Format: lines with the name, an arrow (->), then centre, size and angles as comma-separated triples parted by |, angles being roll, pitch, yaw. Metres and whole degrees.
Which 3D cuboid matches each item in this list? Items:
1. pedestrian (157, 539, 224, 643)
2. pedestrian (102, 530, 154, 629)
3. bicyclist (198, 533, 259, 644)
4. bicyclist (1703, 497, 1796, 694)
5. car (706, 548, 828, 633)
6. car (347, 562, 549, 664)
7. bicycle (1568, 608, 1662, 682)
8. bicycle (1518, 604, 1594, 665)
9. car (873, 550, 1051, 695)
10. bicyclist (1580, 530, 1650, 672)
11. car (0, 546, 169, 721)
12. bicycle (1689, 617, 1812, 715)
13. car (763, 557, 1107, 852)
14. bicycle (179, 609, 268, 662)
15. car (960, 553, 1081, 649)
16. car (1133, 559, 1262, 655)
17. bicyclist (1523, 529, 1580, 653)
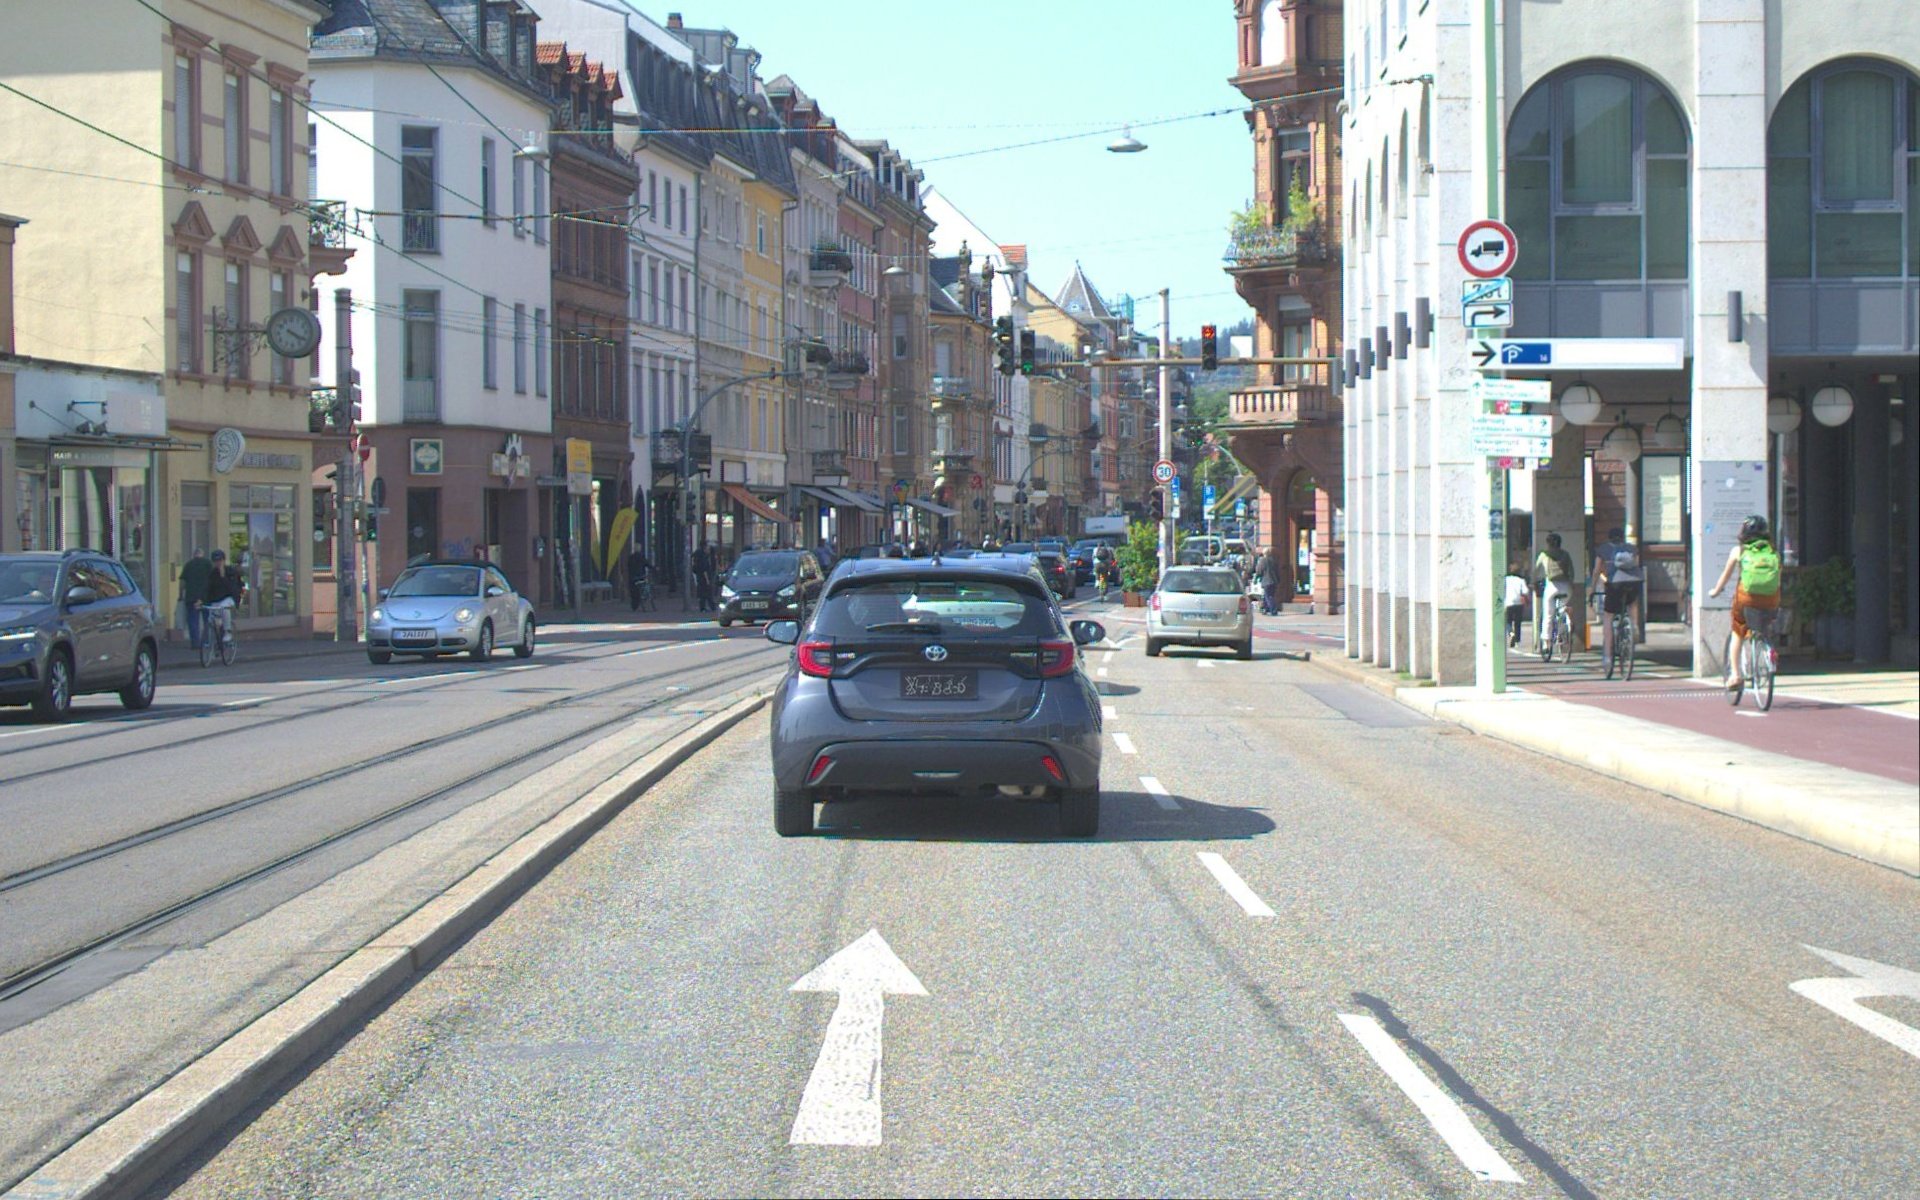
pedestrian -> -12.636, -0.142, 56.469 | 0.762, 1.648, 0.711 | 4, 0, 6
pedestrian -> -14.077, -0.352, 58.202 | 0.649, 1.596, 0.566 | 4, 3, 0
bicyclist -> -11.109, -0.180, 52.201 | 0.705, 1.644, 0.621 | 2, 1, 9
bicyclist -> 6.720, -0.044, 29.284 | 0.605, 1.645, 0.702 | -1, 0, 0
car -> -4.147, -0.214, 74.606 | 1.994, 1.766, 3.999 | 0, 0, 6
car -> -7.549, 0.173, 51.102 | 1.994, 1.427, 3.999 | 1, 0, 6
bicycle -> 7.250, 0.489, 38.115 | 0.593, 0.763, 1.831 | -1, 1, -3
bicycle -> 7.971, 0.450, 46.023 | 0.593, 0.763, 1.867 | -1, 1, -3
car -> -0.009, 0.219, 39.155 | 1.897, 1.525, 4.000 | 1, 1, -1
bicyclist -> 7.245, 0.006, 38.035 | 0.586, 1.553, 0.702 | -1, 1, -2
car -> -8.920, 0.279, 32.344 | 1.794, 1.540, 3.920 | 0, 1, 4
bicycle -> 6.726, 0.550, 29.321 | 0.593, 0.763, 1.867 | -1, 1, 0
car -> -0.151, 0.509, 19.301 | 1.720, 1.468, 3.658 | 1, 1, -1
bicycle -> -11.151, 0.531, 52.114 | 0.620, 0.713, 2.044 | 2, 1, 9
car -> 0.989, -0.014, 58.159 | 1.897, 1.525, 4.000 | 1, 1, -1
car -> 3.823, 0.084, 55.890 | 1.705, 1.461, 4.326 | 1, 1, -1
bicyclist -> 7.944, -0.124, 46.173 | 0.586, 1.645, 0.702 | -1, 0, -2
